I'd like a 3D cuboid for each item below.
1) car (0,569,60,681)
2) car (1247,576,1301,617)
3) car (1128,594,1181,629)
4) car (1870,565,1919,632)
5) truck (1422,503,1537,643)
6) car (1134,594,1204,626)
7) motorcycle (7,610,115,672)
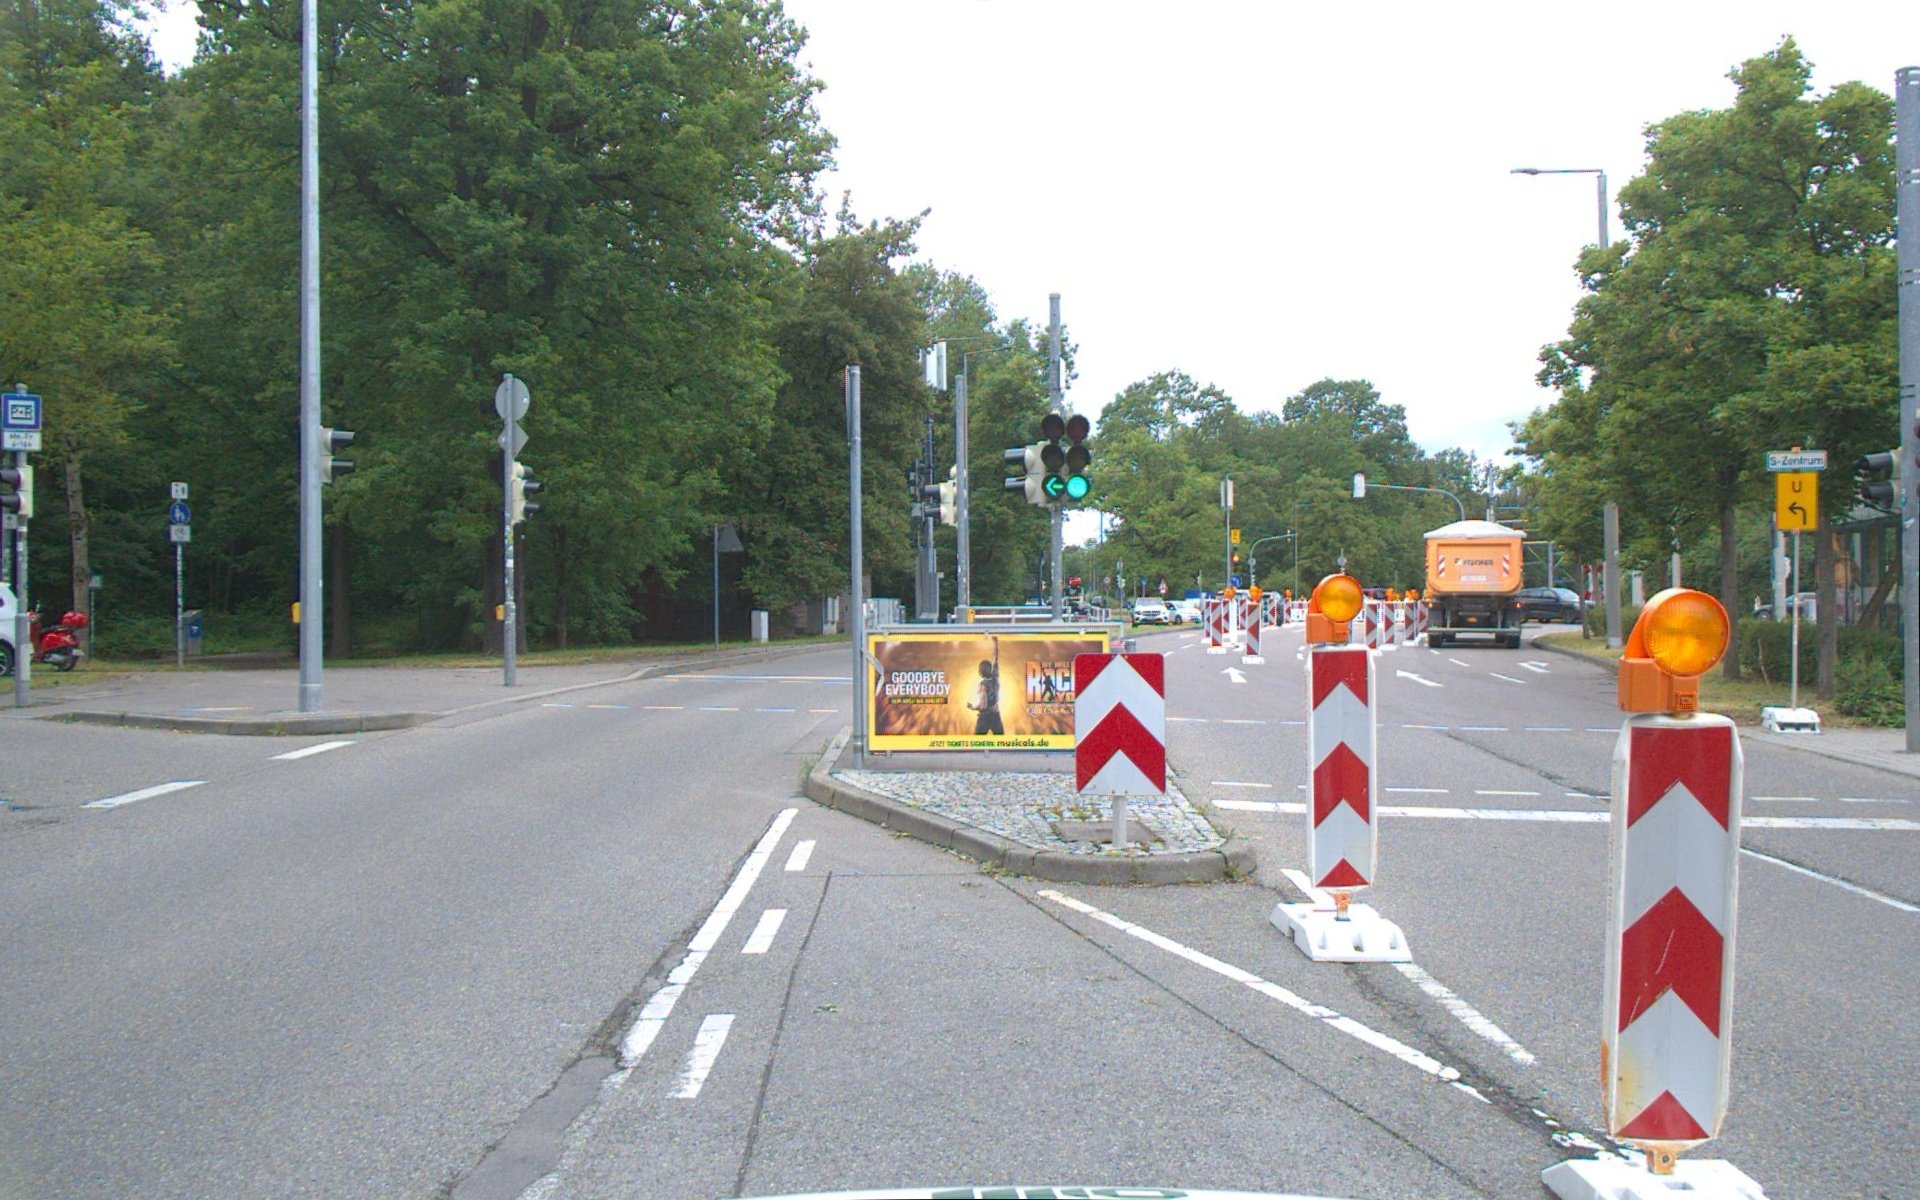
[{"bbox_3d":[-16.508,0.452,25.117,2.118,1.722,4.527,-2,0,30],"label":"car"},{"bbox_3d":[13.988,-0.143,73.598,1.759,1.769,3.703,1,0,20],"label":"car"},{"bbox_3d":[10.329,0.627,87.478,1.951,1.780,4.581,1,0,17],"label":"car"},{"bbox_3d":[37.525,-0.029,61.690,1.975,2.537,6.079,1,0,-32],"label":"car"},{"bbox_3d":[14.808,-0.758,46.785,2.799,3.576,8.251,-1,1,19],"label":"truck"},{"bbox_3d":[13.020,0.623,103.154,1.984,1.915,3.937,1,0,-43],"label":"car"},{"bbox_3d":[-17.439,0.791,32.090,1.963,1.181,0.677,-1,0,18],"label":"motorcycle"}]
